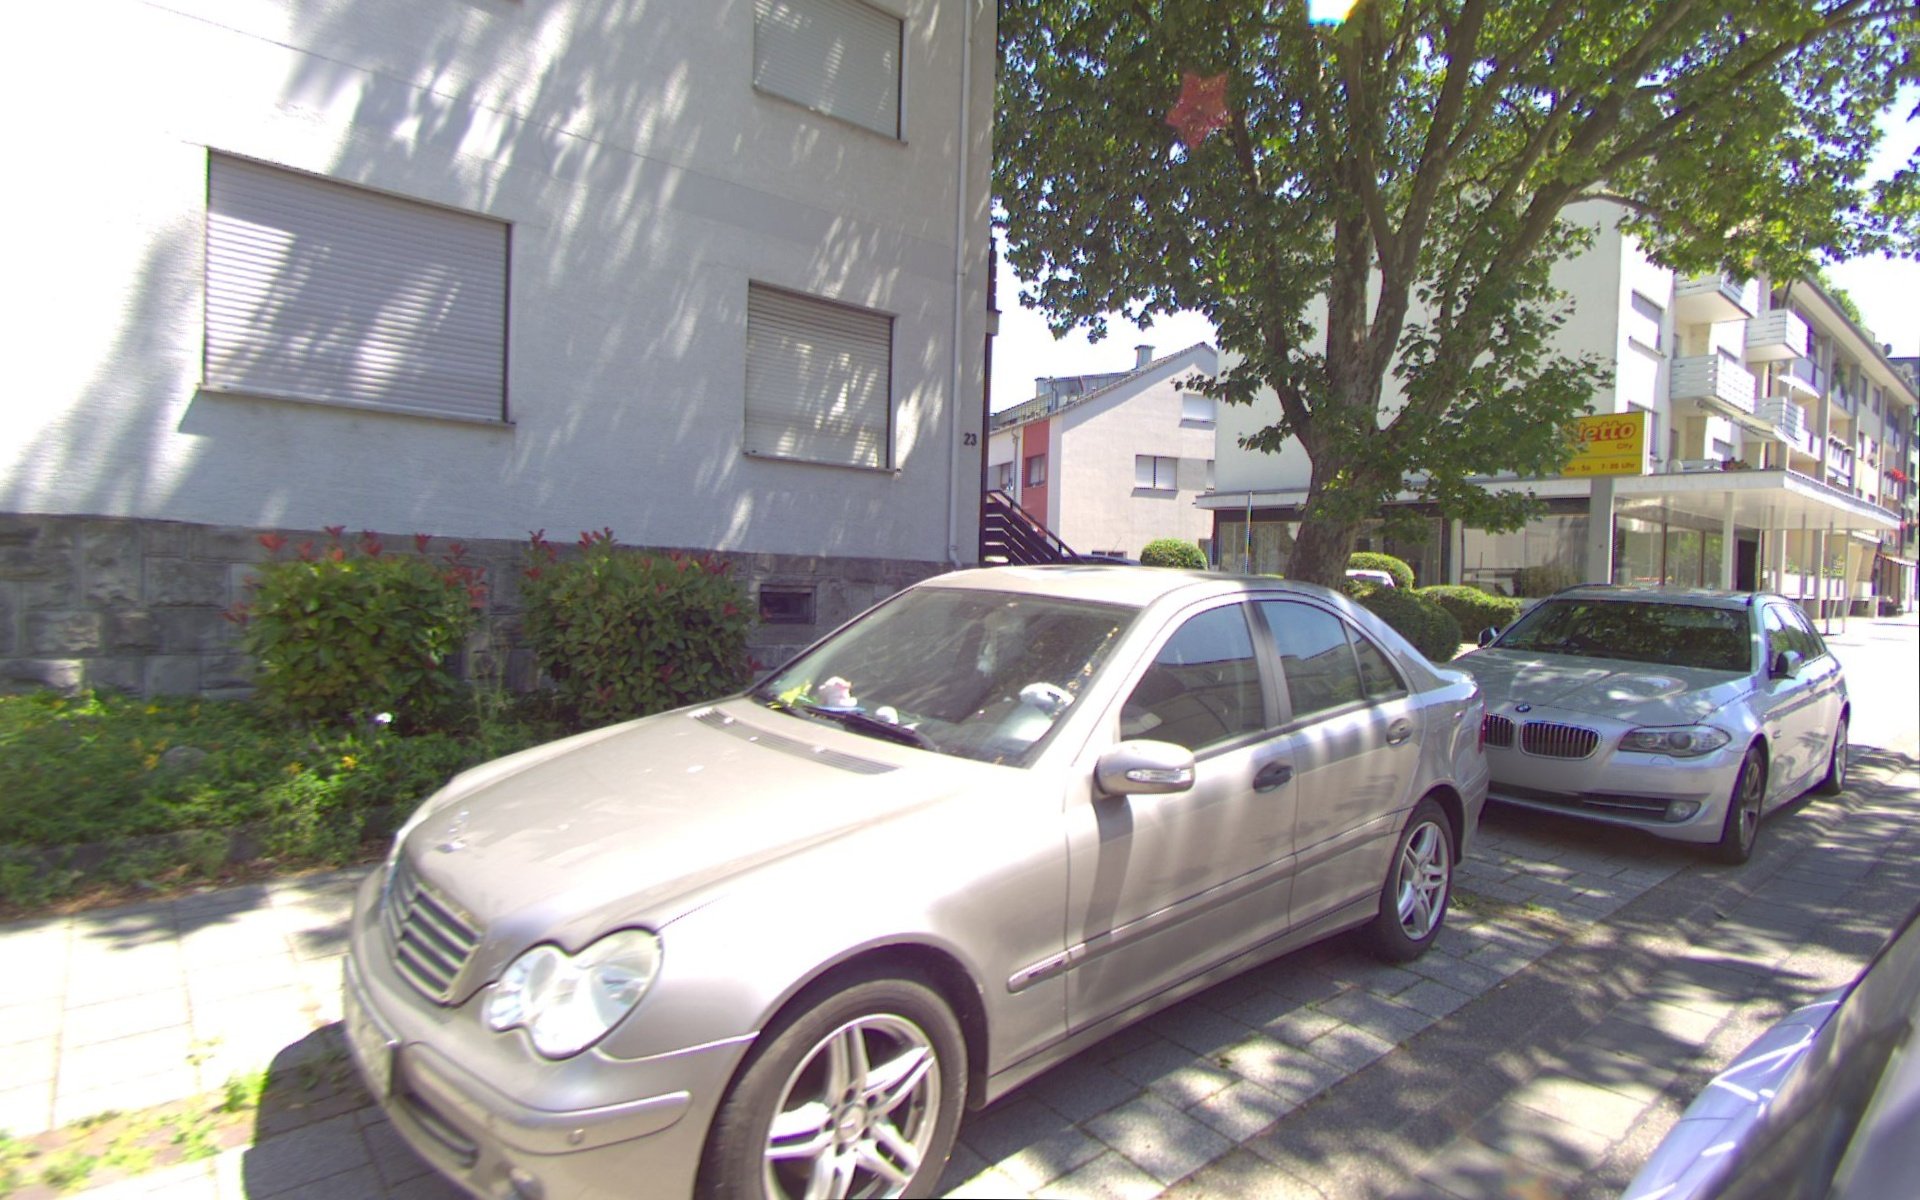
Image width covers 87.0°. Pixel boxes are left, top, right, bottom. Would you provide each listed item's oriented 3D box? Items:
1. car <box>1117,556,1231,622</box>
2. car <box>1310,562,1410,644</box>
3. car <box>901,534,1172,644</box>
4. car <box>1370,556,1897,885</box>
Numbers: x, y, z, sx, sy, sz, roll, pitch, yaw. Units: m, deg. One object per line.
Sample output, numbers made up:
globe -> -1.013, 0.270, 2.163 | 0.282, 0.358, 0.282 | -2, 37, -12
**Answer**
car -> 5.409, -0.303, 25.245 | 1.724, 1.518, 3.591 | 1, 2, 31
car -> 8.221, 0.007, 21.043 | 1.715, 1.518, 3.443 | 2, 2, 19
car -> 1.246, -0.189, 16.150 | 4.015, 1.562, 1.693 | 0, 2, -29
car -> 4.898, 0.527, 7.045 | 4.676, 1.529, 1.833 | -1, 3, -41
